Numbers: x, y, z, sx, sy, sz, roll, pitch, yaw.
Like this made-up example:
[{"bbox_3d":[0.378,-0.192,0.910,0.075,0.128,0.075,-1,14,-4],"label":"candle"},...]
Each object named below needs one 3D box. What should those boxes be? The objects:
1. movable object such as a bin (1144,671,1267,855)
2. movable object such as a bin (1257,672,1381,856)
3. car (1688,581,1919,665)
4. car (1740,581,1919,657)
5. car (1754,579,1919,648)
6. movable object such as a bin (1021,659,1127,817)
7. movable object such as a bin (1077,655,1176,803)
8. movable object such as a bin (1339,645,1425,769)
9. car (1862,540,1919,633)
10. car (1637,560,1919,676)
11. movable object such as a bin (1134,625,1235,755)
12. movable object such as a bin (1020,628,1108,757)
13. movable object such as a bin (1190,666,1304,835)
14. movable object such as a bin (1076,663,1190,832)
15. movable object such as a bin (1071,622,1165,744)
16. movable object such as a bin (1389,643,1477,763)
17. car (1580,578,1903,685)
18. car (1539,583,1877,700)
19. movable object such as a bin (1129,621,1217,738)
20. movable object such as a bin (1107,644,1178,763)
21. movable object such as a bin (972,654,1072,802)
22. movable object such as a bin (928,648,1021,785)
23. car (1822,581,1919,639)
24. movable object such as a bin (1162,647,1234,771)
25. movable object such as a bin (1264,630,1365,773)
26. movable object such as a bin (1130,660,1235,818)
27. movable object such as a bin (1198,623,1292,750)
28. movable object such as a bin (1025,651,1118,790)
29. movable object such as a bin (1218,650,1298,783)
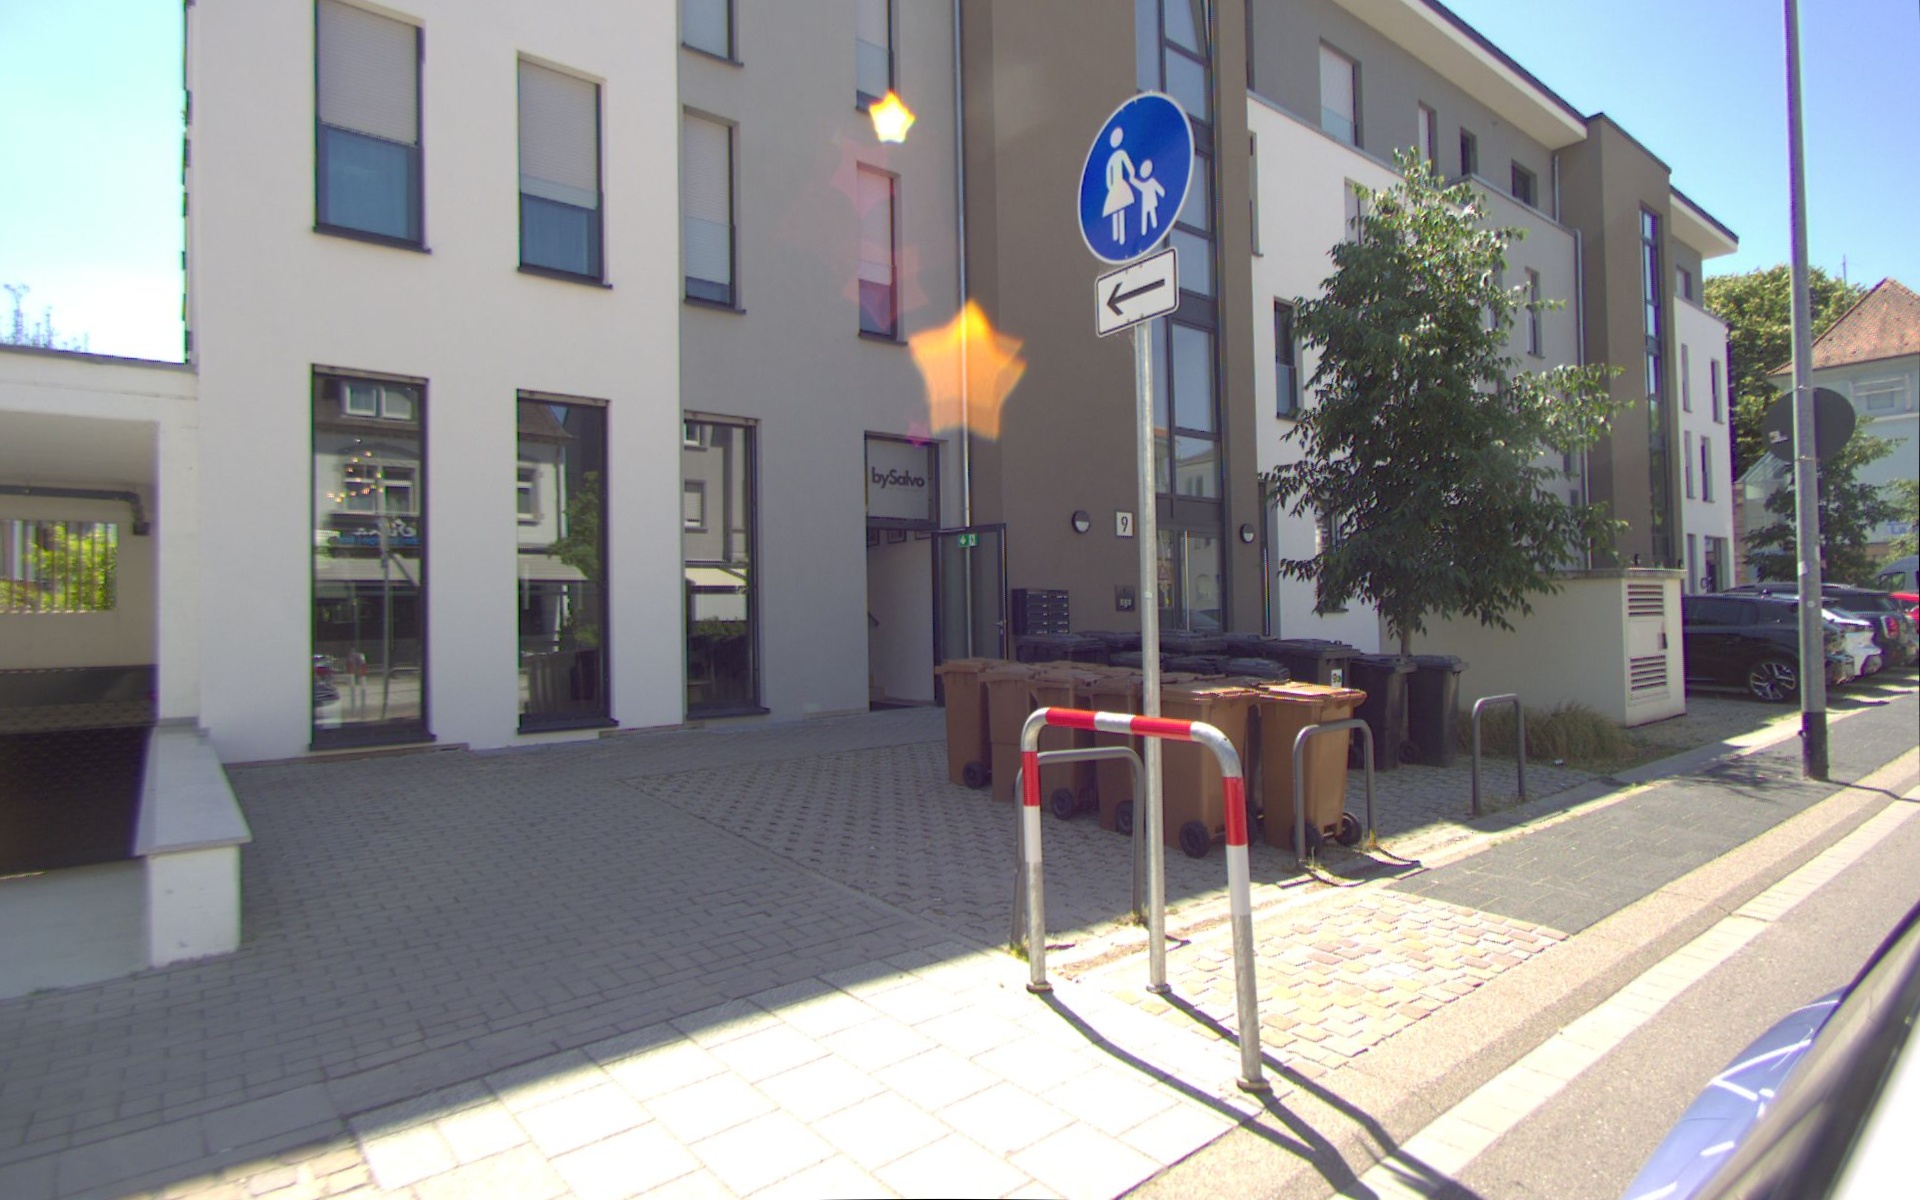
[{"bbox_3d":[1.413,0.910,5.841,0.519,0.942,0.474,0,0,-38],"label":"movable object such as a bin"},{"bbox_3d":[2.077,0.918,5.860,0.519,0.942,0.474,0,0,-38],"label":"movable object such as a bin"},{"bbox_3d":[16.468,0.389,19.573,1.588,1.481,3.615,0,0,-39],"label":"car"},{"bbox_3d":[18.617,0.370,20.816,1.622,1.481,3.815,0,0,-39],"label":"car"},{"bbox_3d":[21.779,0.304,24.055,1.623,1.570,4.353,0,0,-41],"label":"car"},{"bbox_3d":[0.754,0.886,6.708,0.519,0.942,0.474,0,0,-38],"label":"movable object such as a bin"},{"bbox_3d":[1.167,0.881,7.094,0.513,0.942,0.466,0,0,-38],"label":"movable object such as a bin"},{"bbox_3d":[3.491,0.867,8.375,0.458,0.943,0.512,0,1,-44],"label":"movable object such as a bin"},{"bbox_3d":[29.913,-0.422,29.703,1.817,2.771,4.866,0,-1,-38],"label":"car"},{"bbox_3d":[14.363,0.293,17.721,1.808,1.809,3.815,0,0,-40],"label":"car"},{"bbox_3d":[2.012,0.779,9.080,0.614,1.074,0.648,0,1,-37],"label":"movable object such as a bin"},{"bbox_3d":[0.922,0.791,8.955,0.567,1.055,0.553,0,1,38],"label":"movable object such as a bin"},{"bbox_3d":[1.784,0.907,6.293,0.519,0.942,0.468,0,0,-39],"label":"movable object such as a bin"},{"bbox_3d":[1.077,0.892,6.313,0.519,0.942,0.474,0,0,-38],"label":"movable object such as a bin"},{"bbox_3d":[1.509,0.768,9.668,0.614,1.074,0.648,0,1,-37],"label":"movable object such as a bin"},{"bbox_3d":[4.040,0.858,8.645,0.458,0.943,0.561,0,1,-44],"label":"movable object such as a bin"},{"bbox_3d":[12.385,0.460,16.221,1.747,1.501,3.815,0,0,-40],"label":"car"},{"bbox_3d":[10.661,0.494,14.658,1.506,1.463,3.668,-1,1,-36],"label":"car"},{"bbox_3d":[2.114,0.760,10.027,0.645,1.074,0.616,1,1,39],"label":"movable object such as a bin"},{"bbox_3d":[1.554,0.860,8.599,0.479,0.935,0.433,0,0,29],"label":"movable object such as a bin"},{"bbox_3d":[0.436,0.873,7.095,0.519,0.942,0.474,0,0,-38],"label":"movable object such as a bin"},{"bbox_3d":[0.108,0.858,7.636,0.519,0.942,0.474,0,0,-38],"label":"movable object such as a bin"},{"bbox_3d":[26.013,0.253,26.968,1.688,1.549,4.380,0,0,-38],"label":"car"},{"bbox_3d":[1.941,0.868,8.248,0.479,0.935,0.433,0,0,29],"label":"movable object such as a bin"},{"bbox_3d":[2.892,0.801,8.260,0.550,1.074,0.570,0,1,-37],"label":"movable object such as a bin"},{"bbox_3d":[1.471,0.892,6.692,0.513,0.942,0.466,0,0,-38],"label":"movable object such as a bin"},{"bbox_3d":[2.629,0.770,9.339,0.645,1.074,0.616,1,1,39],"label":"movable object such as a bin"},{"bbox_3d":[0.829,0.873,7.521,0.513,0.942,0.466,0,0,-38],"label":"movable object such as a bin"},{"bbox_3d":[2.297,0.874,7.783,0.512,0.935,0.433,0,0,29],"label":"movable object such as a bin"}]
